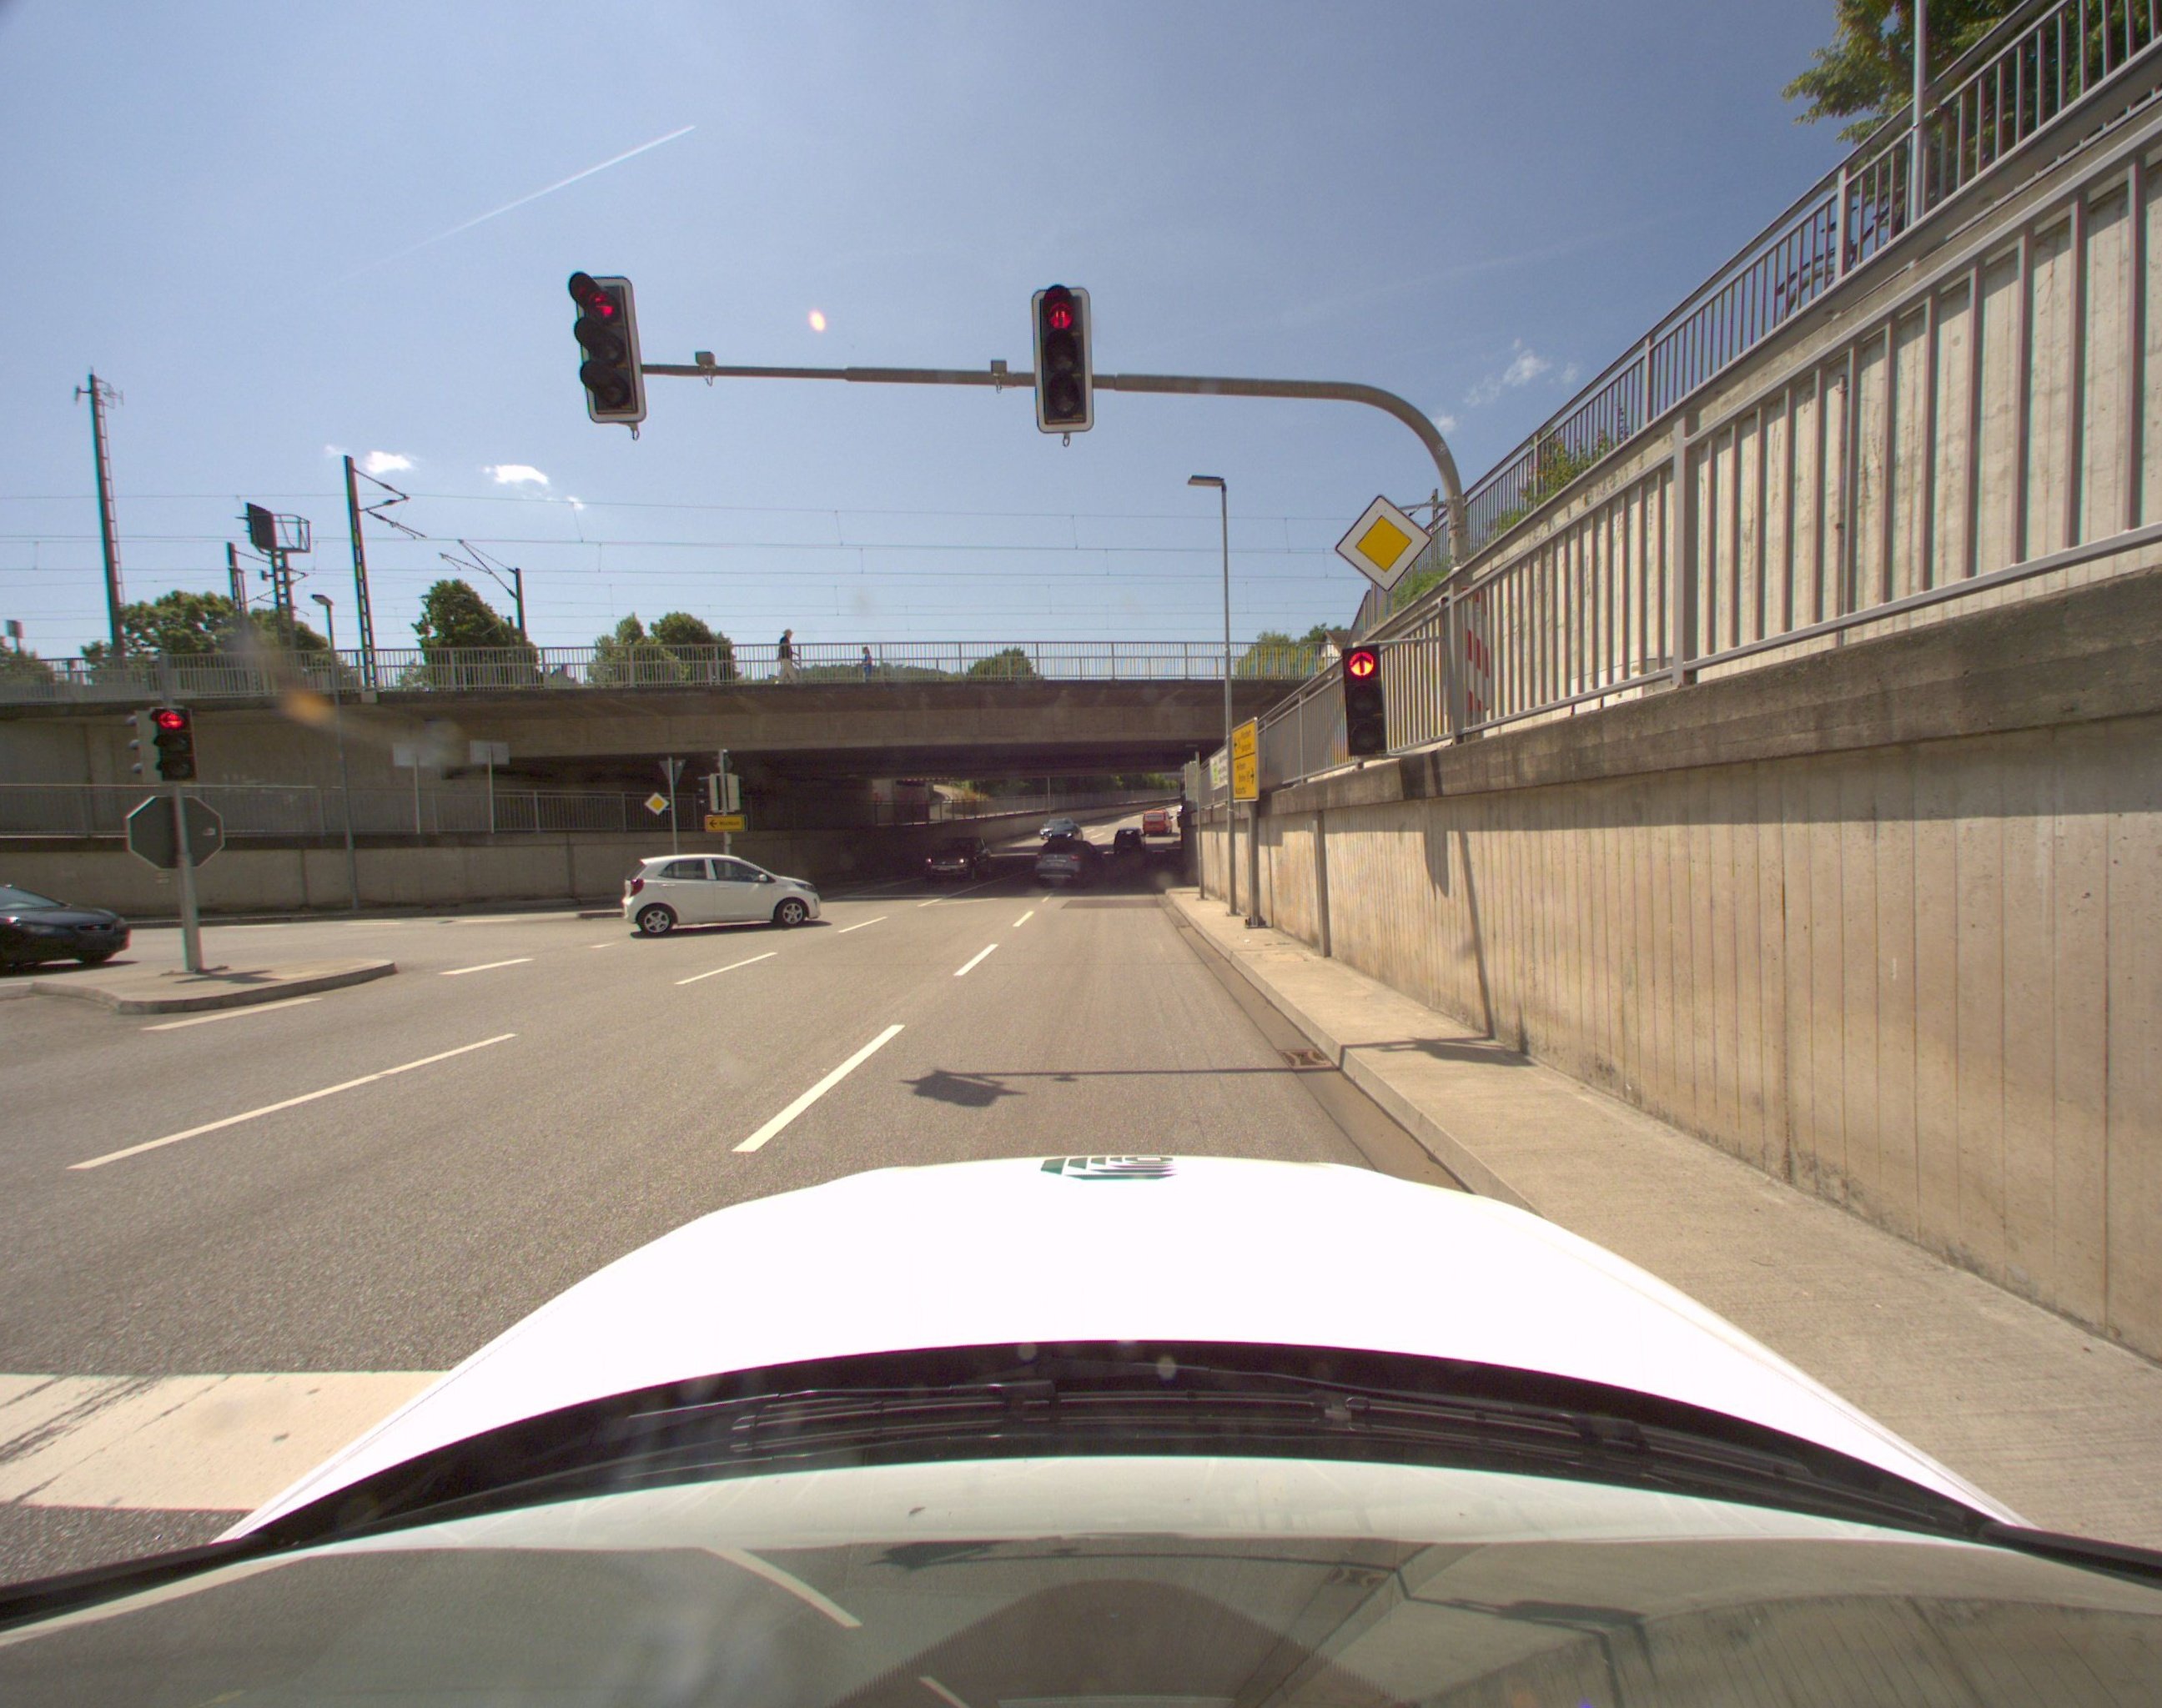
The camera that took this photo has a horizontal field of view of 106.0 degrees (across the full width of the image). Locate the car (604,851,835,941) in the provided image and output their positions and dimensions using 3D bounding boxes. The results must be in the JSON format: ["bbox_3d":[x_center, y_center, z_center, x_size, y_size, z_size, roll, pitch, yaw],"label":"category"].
[{"bbox_3d":[-7.174,0.740,16.269,4.013,1.419,1.714,-3,3,-31],"label":"car"}]

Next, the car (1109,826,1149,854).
[{"bbox_3d":[2.944,-0.871,48.737,1.982,1.507,4.011,-1,2,9],"label":"car"}]

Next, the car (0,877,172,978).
[{"bbox_3d":[-17.489,1.170,12.800,3.985,1.374,1.763,-2,2,-9],"label":"car"}]

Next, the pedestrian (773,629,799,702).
[{"bbox_3d":[-8.973,-5.725,24.763,0.576,2.081,0.533,-2,0,-9],"label":"pedestrian"}]

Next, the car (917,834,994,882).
[{"bbox_3d":[-4.744,0.103,31.343,1.984,1.627,4.006,-1,2,4],"label":"car"}]

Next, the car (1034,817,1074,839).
[{"bbox_3d":[-2.048,-2.040,62.728,1.979,1.588,4.017,-1,2,14],"label":"car"}]

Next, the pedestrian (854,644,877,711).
[{"bbox_3d":[-7.087,-5.793,26.805,0.538,2.081,0.534,-2,0,-5],"label":"pedestrian"}]

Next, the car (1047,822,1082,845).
[{"bbox_3d":[-1.067,-1.410,54.937,1.772,1.436,4.009,-1,2,7],"label":"car"}]

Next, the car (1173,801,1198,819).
[{"bbox_3d":[9.985,-4.156,77.471,1.790,1.617,4.018,0,2,16],"label":"car"}]

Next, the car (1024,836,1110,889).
[{"bbox_3d":[-0.377,0.226,28.094,1.979,1.588,4.016,-1,2,13],"label":"car"}]

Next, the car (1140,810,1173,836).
[{"bbox_3d":[5.897,-2.402,63.110,1.860,1.932,4.737,-1,2,12],"label":"car"}]
